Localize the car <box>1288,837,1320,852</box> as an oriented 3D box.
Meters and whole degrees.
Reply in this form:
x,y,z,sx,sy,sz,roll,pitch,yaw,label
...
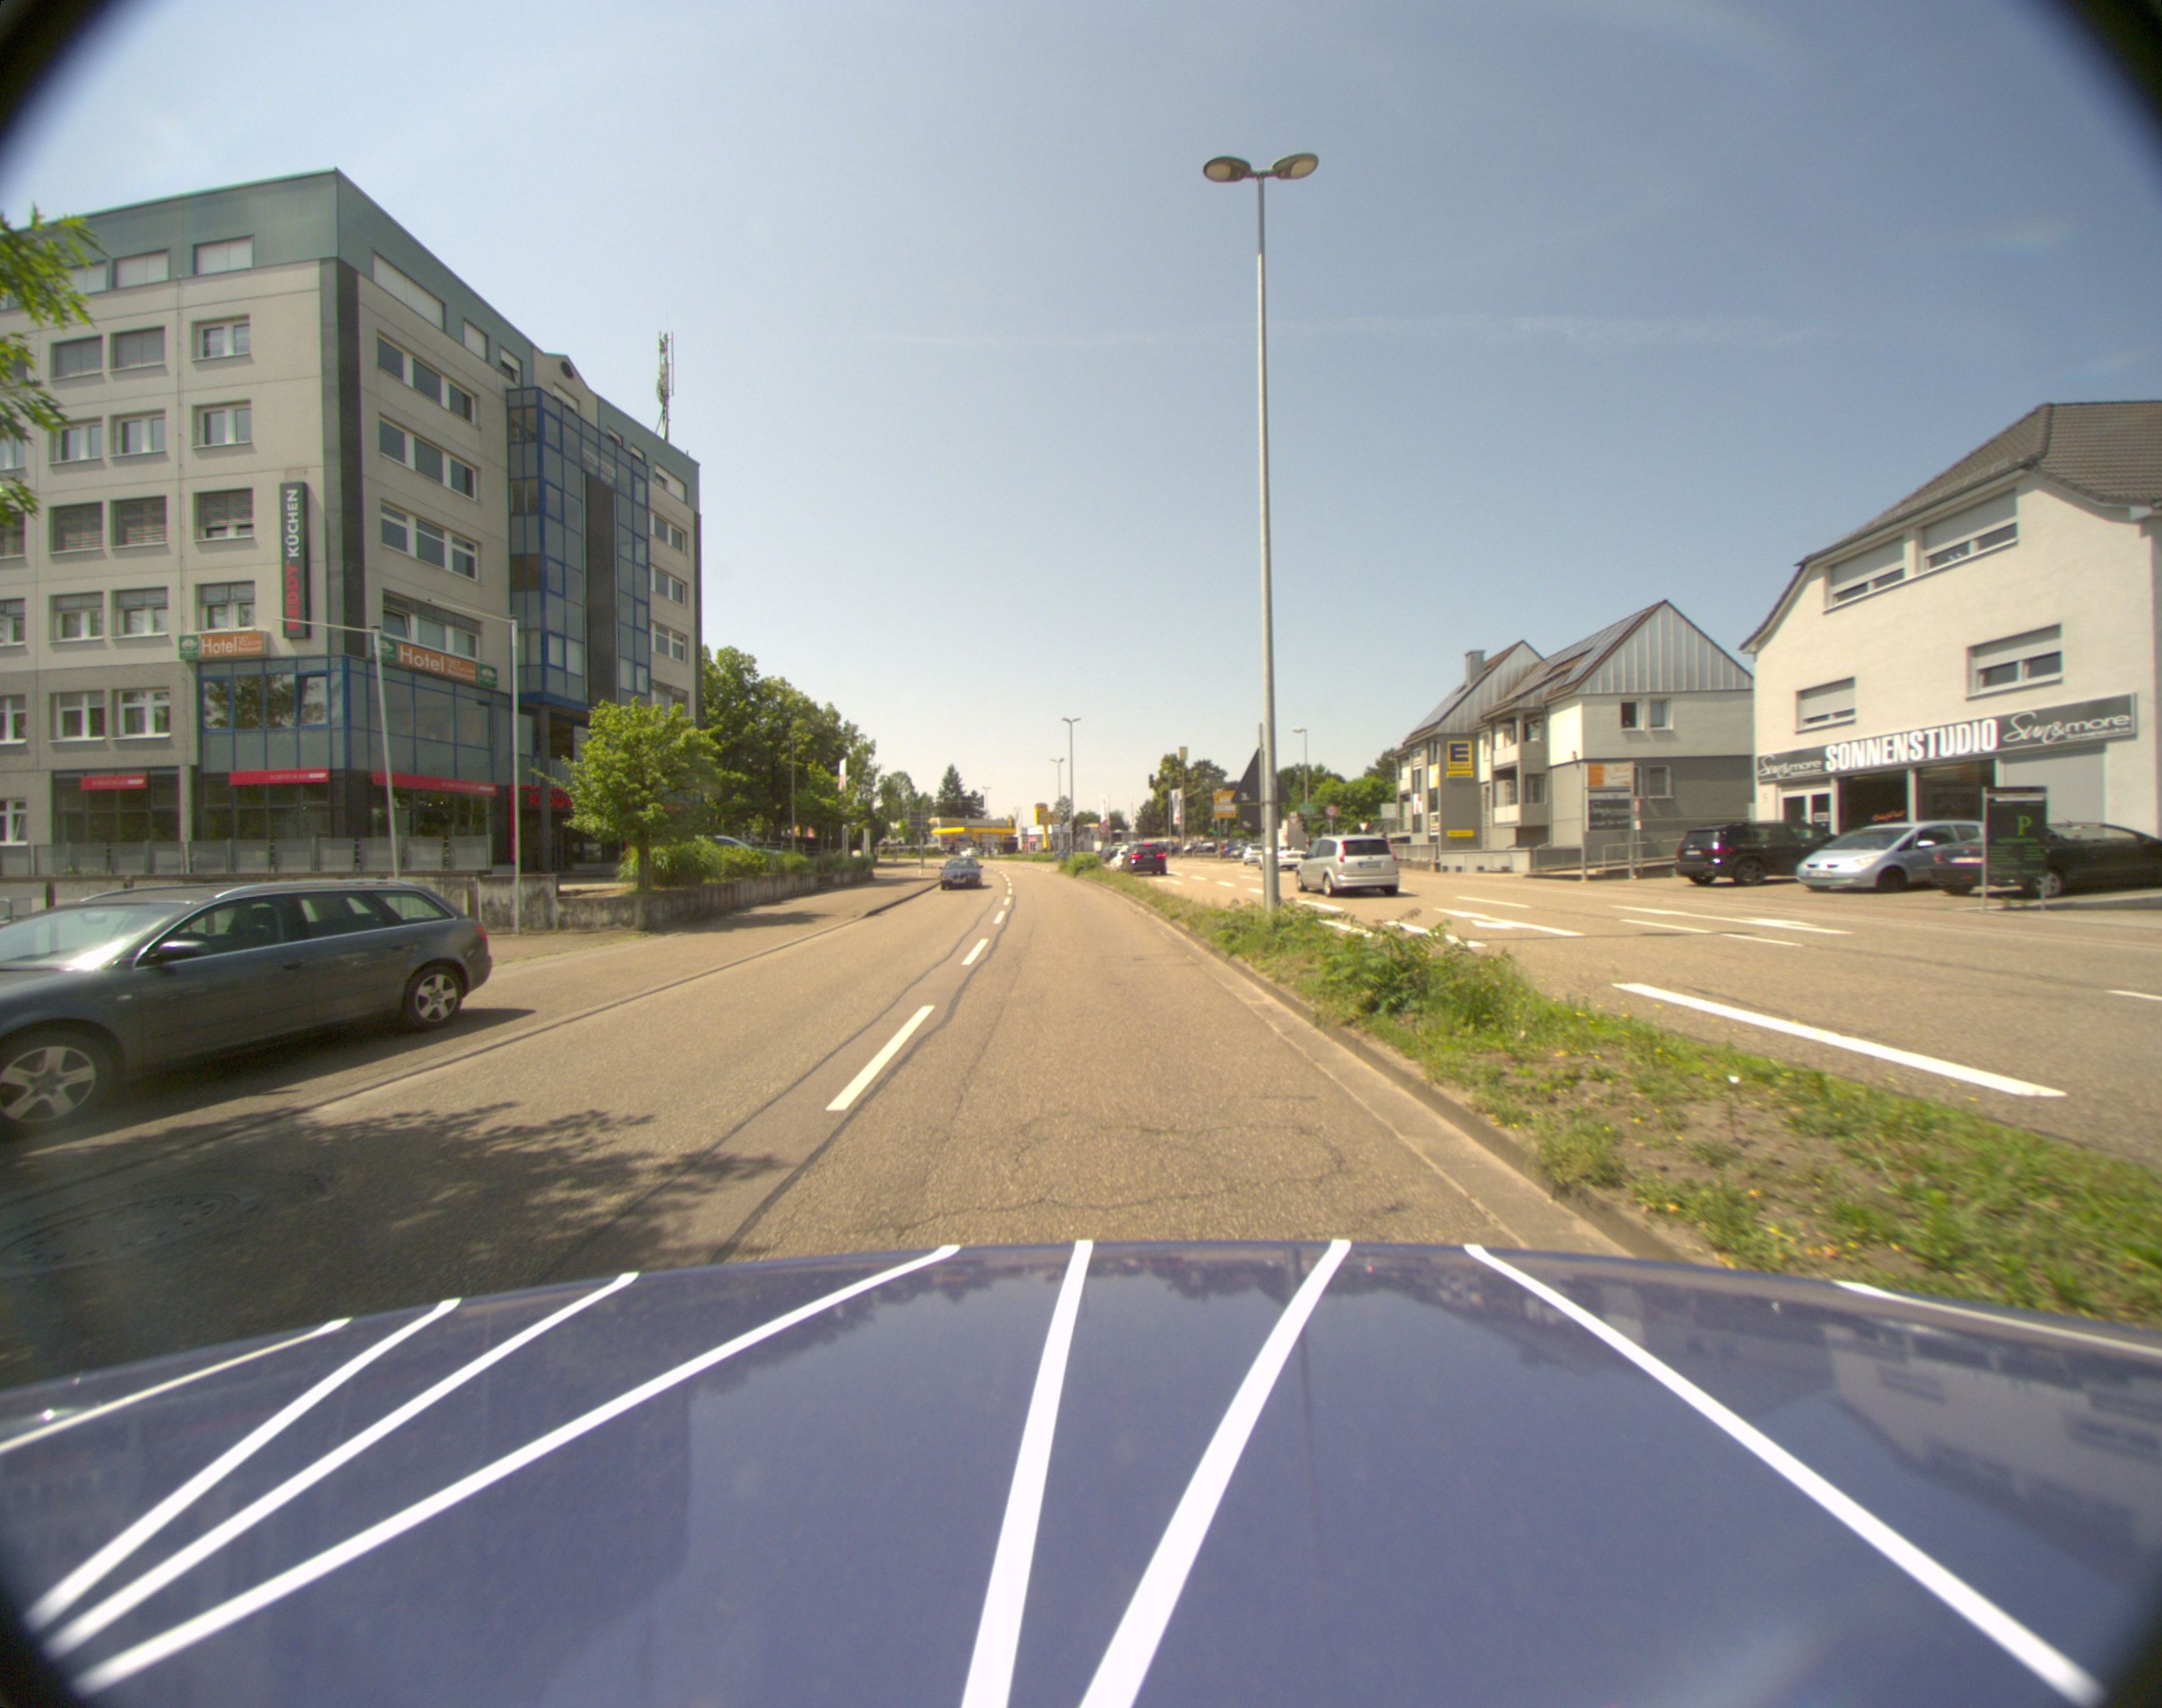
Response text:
x,y,z,sx,sy,sz,roll,pitch,yaw,label
26.943,-1.148,91.955,1.869,1.674,3.994,-3,2,-14,car

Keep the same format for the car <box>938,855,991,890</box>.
x,y,z,sx,sy,sz,roll,pitch,yaw,label
-5.025,0.763,33.368,1.697,1.365,3.999,-1,1,0,car

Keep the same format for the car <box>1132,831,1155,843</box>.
x,y,z,sx,sy,sz,roll,pitch,yaw,label
7.878,-2.155,95.711,1.712,1.424,3.968,0,2,24,car

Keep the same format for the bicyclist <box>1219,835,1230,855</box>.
x,y,z,sx,sy,sz,roll,pitch,yaw,label
12.087,-0.767,63.986,0.423,1.633,0.819,-3,0,-19,bicyclist

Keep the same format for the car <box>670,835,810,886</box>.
x,y,z,sx,sy,sz,roll,pitch,yaw,label
-13.170,0.204,29.671,4.745,1.704,1.996,-3,2,-22,car

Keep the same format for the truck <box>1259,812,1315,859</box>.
x,y,z,sx,sy,sz,roll,pitch,yaw,label
16.773,-1.587,61.484,2.266,3.399,7.049,-2,3,32,truck

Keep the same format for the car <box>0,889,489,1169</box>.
x,y,z,sx,sy,sz,roll,pitch,yaw,label
-7.042,1.117,5.606,1.802,1.398,4.320,-2,1,2,car

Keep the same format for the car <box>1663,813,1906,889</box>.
x,y,z,sx,sy,sz,roll,pitch,yaw,label
18.760,-0.085,20.441,4.616,1.618,1.854,-4,1,3,car

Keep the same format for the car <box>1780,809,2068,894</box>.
x,y,z,sx,sy,sz,roll,pitch,yaw,label
19.156,-0.053,17.410,4.617,1.488,1.752,-5,1,0,car

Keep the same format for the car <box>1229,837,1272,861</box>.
x,y,z,sx,sy,sz,roll,pitch,yaw,label
11.773,-0.385,53.068,1.902,1.557,4.196,-2,1,-3,car

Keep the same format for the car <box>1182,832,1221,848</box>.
x,y,z,sx,sy,sz,roll,pitch,yaw,label
14.428,-1.693,90.971,4.299,1.891,1.832,1,3,22,car

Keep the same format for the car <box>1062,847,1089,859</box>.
x,y,z,sx,sy,sz,roll,pitch,yaw,label
-0.655,-0.135,85.295,1.870,1.358,4.340,1,0,-17,car

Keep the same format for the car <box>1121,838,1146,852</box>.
x,y,z,sx,sy,sz,roll,pitch,yaw,label
6.800,-1.177,98.572,1.914,1.532,3.968,-1,2,25,car

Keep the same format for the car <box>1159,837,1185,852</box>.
x,y,z,sx,sy,sz,roll,pitch,yaw,label
11.185,-1.166,93.924,1.847,1.714,4.007,-2,2,-15,car

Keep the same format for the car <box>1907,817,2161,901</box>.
x,y,z,sx,sy,sz,roll,pitch,yaw,label
19.206,0.072,14.781,4.066,1.512,2.000,0,1,1,car

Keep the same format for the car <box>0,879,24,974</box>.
x,y,z,sx,sy,sz,roll,pitch,yaw,label
-18.236,1.244,10.183,1.834,1.499,4.318,-2,2,6,car

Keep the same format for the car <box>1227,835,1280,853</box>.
x,y,z,sx,sy,sz,roll,pitch,yaw,label
17.278,-1.058,76.141,4.763,1.601,1.760,-2,2,-10,car

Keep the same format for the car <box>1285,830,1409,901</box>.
x,y,z,sx,sy,sz,roll,pitch,yaw,label
7.048,0.226,20.650,1.785,1.620,4.338,-3,2,0,car

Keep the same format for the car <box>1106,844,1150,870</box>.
x,y,z,sx,sy,sz,roll,pitch,yaw,label
2.783,0.132,46.030,1.868,1.423,4.741,-2,1,-6,car

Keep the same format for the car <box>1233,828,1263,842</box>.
x,y,z,sx,sy,sz,roll,pitch,yaw,label
19.434,-2.186,88.675,1.796,1.528,3.994,-3,2,-14,car

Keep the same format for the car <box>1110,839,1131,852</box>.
x,y,z,sx,sy,sz,roll,pitch,yaw,label
5.247,-1.135,100.688,1.754,1.501,3.824,-1,2,21,car

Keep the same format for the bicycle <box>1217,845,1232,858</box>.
x,y,z,sx,sy,sz,roll,pitch,yaw,label
12.118,-0.188,64.219,0.422,1.048,1.786,-2,1,-19,bicycle

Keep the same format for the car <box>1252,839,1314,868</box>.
x,y,z,sx,sy,sz,roll,pitch,yaw,label
10.482,-0.060,39.837,1.810,1.346,4.353,-3,1,-3,car

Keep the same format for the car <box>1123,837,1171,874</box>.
x,y,z,sx,sy,sz,roll,pitch,yaw,label
3.377,0.015,39.910,1.914,1.741,4.757,-2,2,-2,car

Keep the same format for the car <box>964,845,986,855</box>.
x,y,z,sx,sy,sz,roll,pitch,yaw,label
-17.381,-0.655,124.333,1.825,1.561,4.545,-3,0,-31,car

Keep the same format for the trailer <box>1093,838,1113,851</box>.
x,y,z,sx,sy,sz,roll,pitch,yaw,label
3.036,-1.321,104.020,1.689,1.694,2.439,-1,2,33,trailer
